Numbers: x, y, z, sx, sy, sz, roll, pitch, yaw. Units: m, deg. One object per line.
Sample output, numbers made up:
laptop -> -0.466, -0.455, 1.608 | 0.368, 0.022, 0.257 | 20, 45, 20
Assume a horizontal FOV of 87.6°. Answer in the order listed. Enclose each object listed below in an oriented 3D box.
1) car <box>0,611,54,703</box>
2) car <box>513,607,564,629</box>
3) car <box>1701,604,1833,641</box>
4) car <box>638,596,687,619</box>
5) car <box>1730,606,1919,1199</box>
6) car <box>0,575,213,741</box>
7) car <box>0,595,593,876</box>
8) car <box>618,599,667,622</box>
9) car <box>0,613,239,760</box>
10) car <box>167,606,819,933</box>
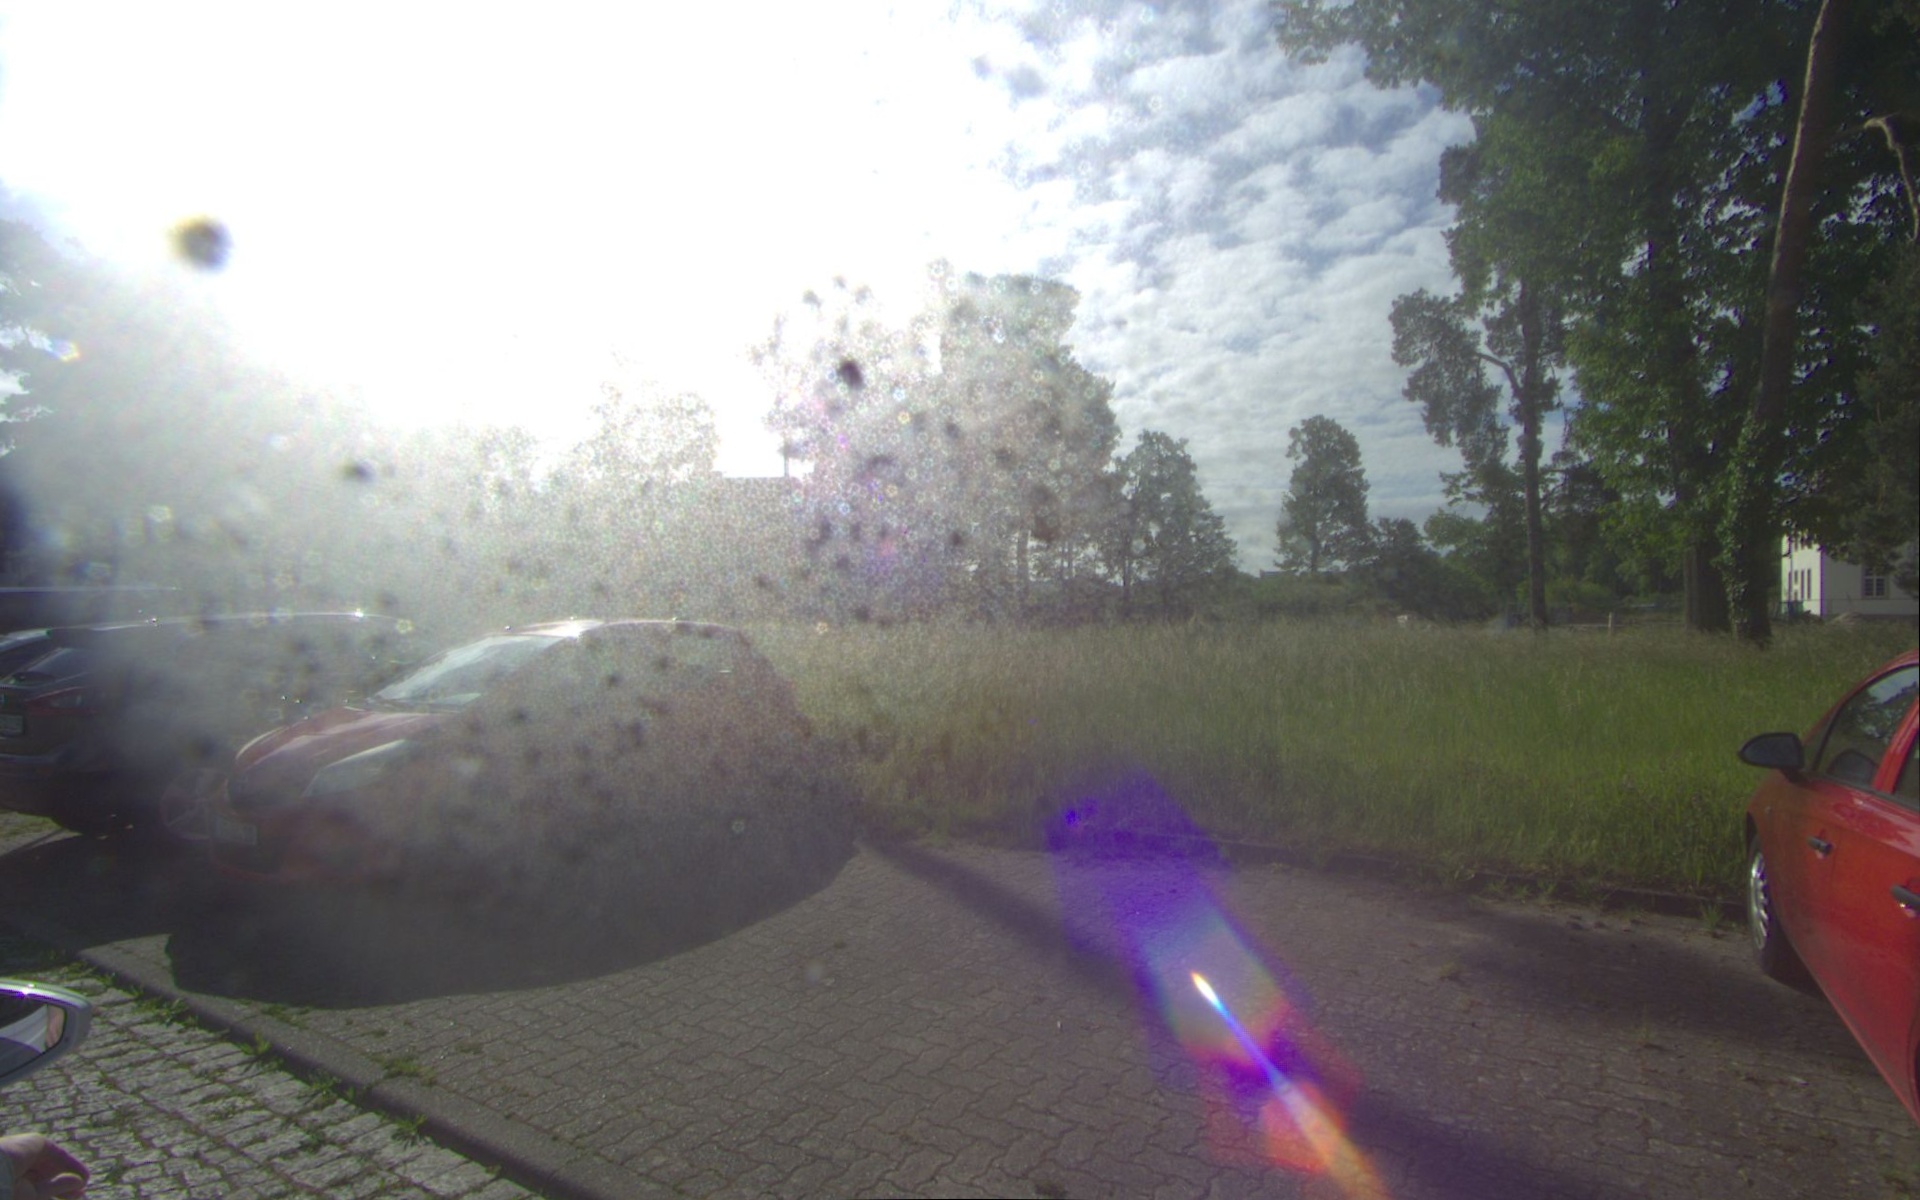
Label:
car -> -16.907, 0.968, 15.696 | 1.622, 1.485, 3.685 | 0, 1, 33
car -> -39.176, 1.638, 93.176 | 1.971, 2.040, 3.979 | 0, 0, 32
car -> 50.037, 1.422, 62.247 | 2.346, 2.199, 5.975 | 0, -2, -35
car -> -26.897, 0.711, 90.767 | 1.971, 2.040, 3.979 | 0, 0, 32
car -> 3.378, 0.786, 2.736 | 1.622, 1.498, 3.819 | 0, 0, 32
car -> -12.708, 0.720, 12.783 | 2.052, 2.040, 4.672 | 0, 0, 29
car -> -5.127, 0.815, 7.995 | 1.746, 1.643, 3.930 | 0, 0, 31
car -> -29.052, 0.950, 91.710 | 1.971, 2.040, 3.979 | 0, 0, 32
car -> -10.571, 0.922, 11.222 | 1.621, 1.508, 3.714 | 0, 0, 30
car -> -2.783, 0.827, 6.787 | 1.622, 1.550, 3.755 | 0, 0, 32
